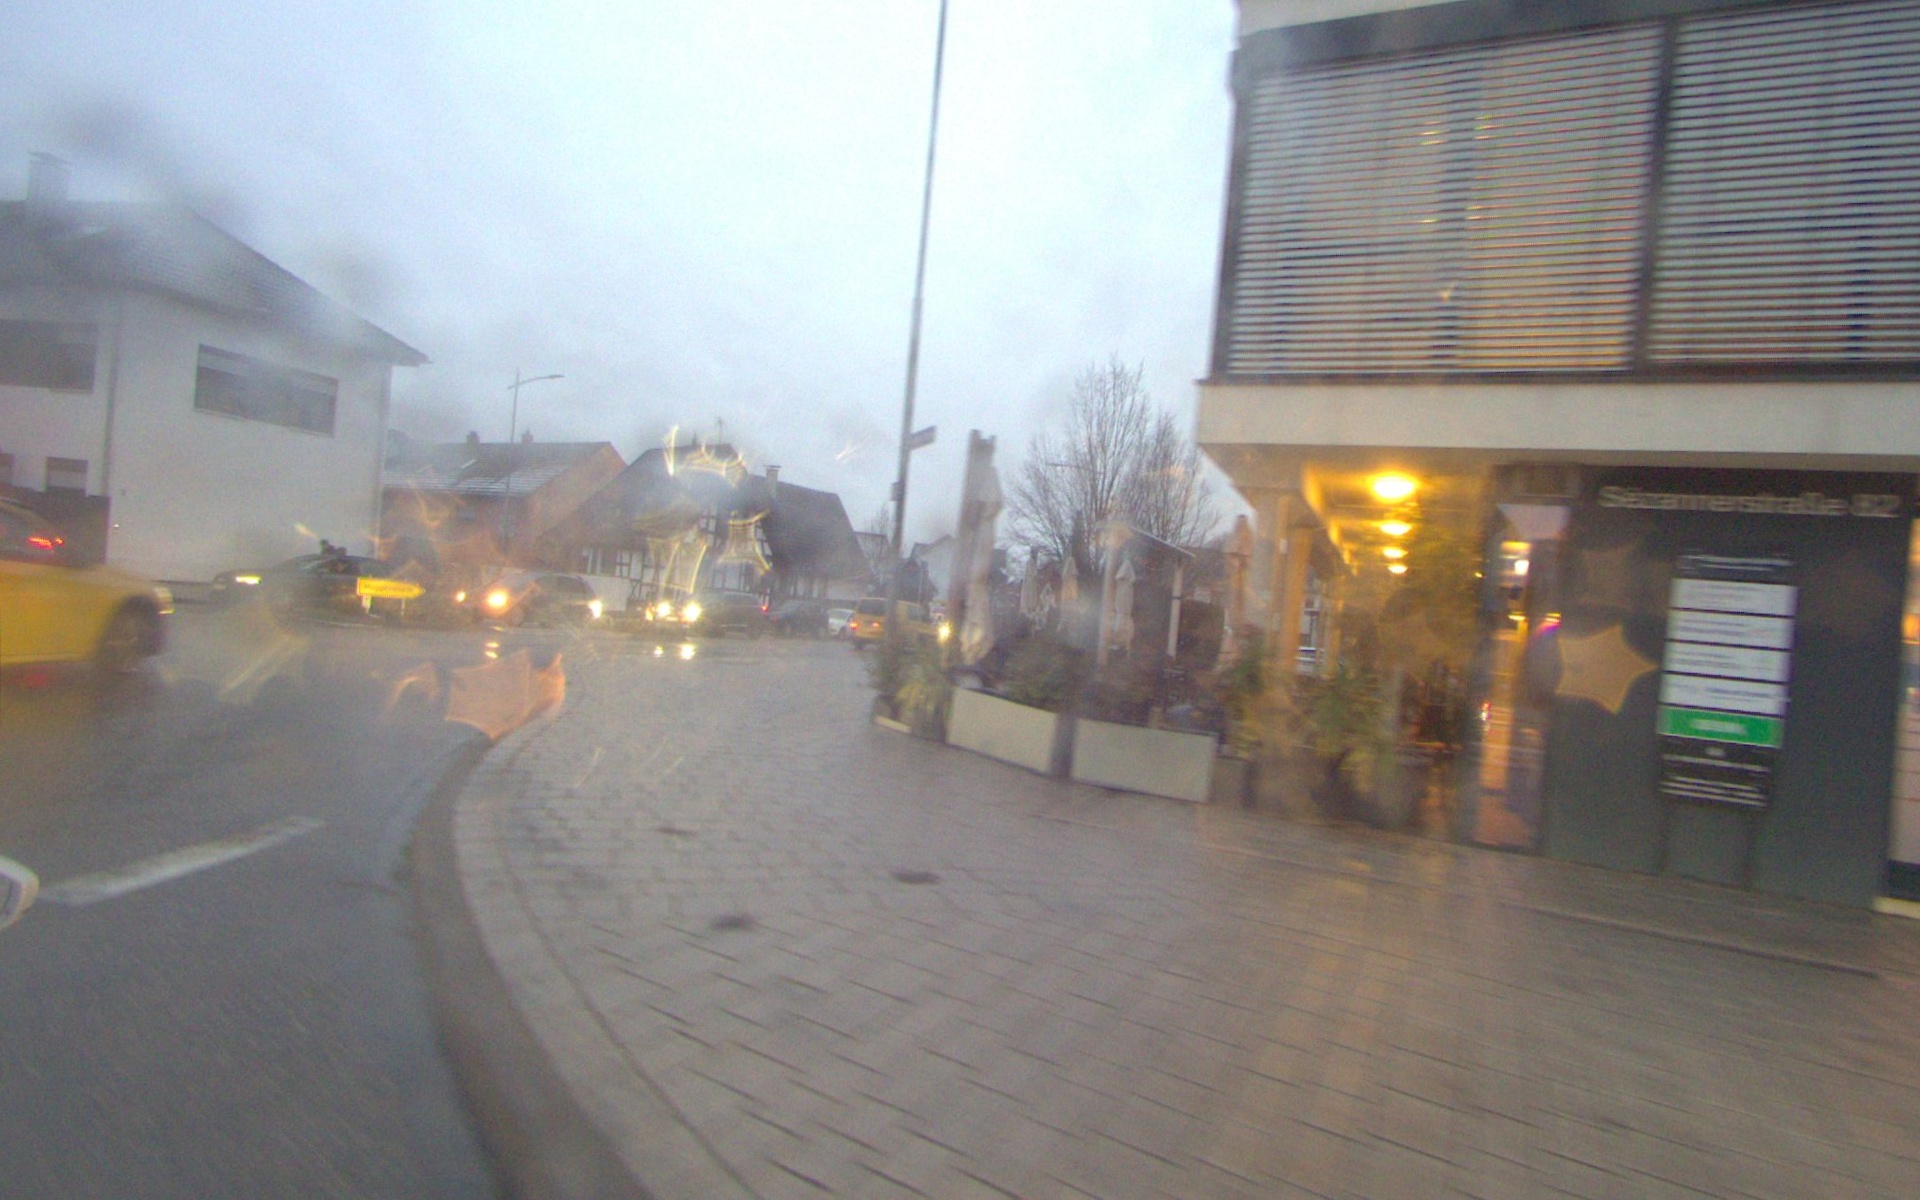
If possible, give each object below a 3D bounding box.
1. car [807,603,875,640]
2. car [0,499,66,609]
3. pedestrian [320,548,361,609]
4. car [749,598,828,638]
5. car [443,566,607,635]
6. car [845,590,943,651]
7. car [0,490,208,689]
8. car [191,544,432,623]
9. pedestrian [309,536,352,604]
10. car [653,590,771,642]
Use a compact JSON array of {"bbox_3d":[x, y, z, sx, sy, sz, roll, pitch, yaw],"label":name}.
[{"bbox_3d":[-5.952,1.119,50.564,1.643,1.569,3.716,6,-1,23],"label":"car"},{"bbox_3d":[-16.373,-0.912,15.685,3.876,1.635,1.922,6,0,20],"label":"car"},{"bbox_3d":[-17.720,-0.610,28.764,0.573,1.641,0.715,7,0,37],"label":"pedestrian"},{"bbox_3d":[-7.783,0.852,45.978,1.696,1.483,3.708,6,-1,23],"label":"car"},{"bbox_3d":[-12.054,0.072,28.143,1.667,1.571,3.997,5,-1,25],"label":"car"},{"bbox_3d":[-2.469,0.856,39.173,1.962,2.038,4.901,6,-1,18],"label":"car"},{"bbox_3d":[-7.745,-0.168,7.266,1.685,1.439,4.010,7,0,-4],"label":"car"},{"bbox_3d":[-14.689,-0.321,23.043,1.820,1.400,4.228,3,-3,29],"label":"car"},{"bbox_3d":[-18.283,-0.863,29.232,0.627,1.855,0.715,8,1,37],"label":"pedestrian"},{"bbox_3d":[-8.693,0.610,35.644,1.667,1.526,4.255,4,-2,25],"label":"car"}]
